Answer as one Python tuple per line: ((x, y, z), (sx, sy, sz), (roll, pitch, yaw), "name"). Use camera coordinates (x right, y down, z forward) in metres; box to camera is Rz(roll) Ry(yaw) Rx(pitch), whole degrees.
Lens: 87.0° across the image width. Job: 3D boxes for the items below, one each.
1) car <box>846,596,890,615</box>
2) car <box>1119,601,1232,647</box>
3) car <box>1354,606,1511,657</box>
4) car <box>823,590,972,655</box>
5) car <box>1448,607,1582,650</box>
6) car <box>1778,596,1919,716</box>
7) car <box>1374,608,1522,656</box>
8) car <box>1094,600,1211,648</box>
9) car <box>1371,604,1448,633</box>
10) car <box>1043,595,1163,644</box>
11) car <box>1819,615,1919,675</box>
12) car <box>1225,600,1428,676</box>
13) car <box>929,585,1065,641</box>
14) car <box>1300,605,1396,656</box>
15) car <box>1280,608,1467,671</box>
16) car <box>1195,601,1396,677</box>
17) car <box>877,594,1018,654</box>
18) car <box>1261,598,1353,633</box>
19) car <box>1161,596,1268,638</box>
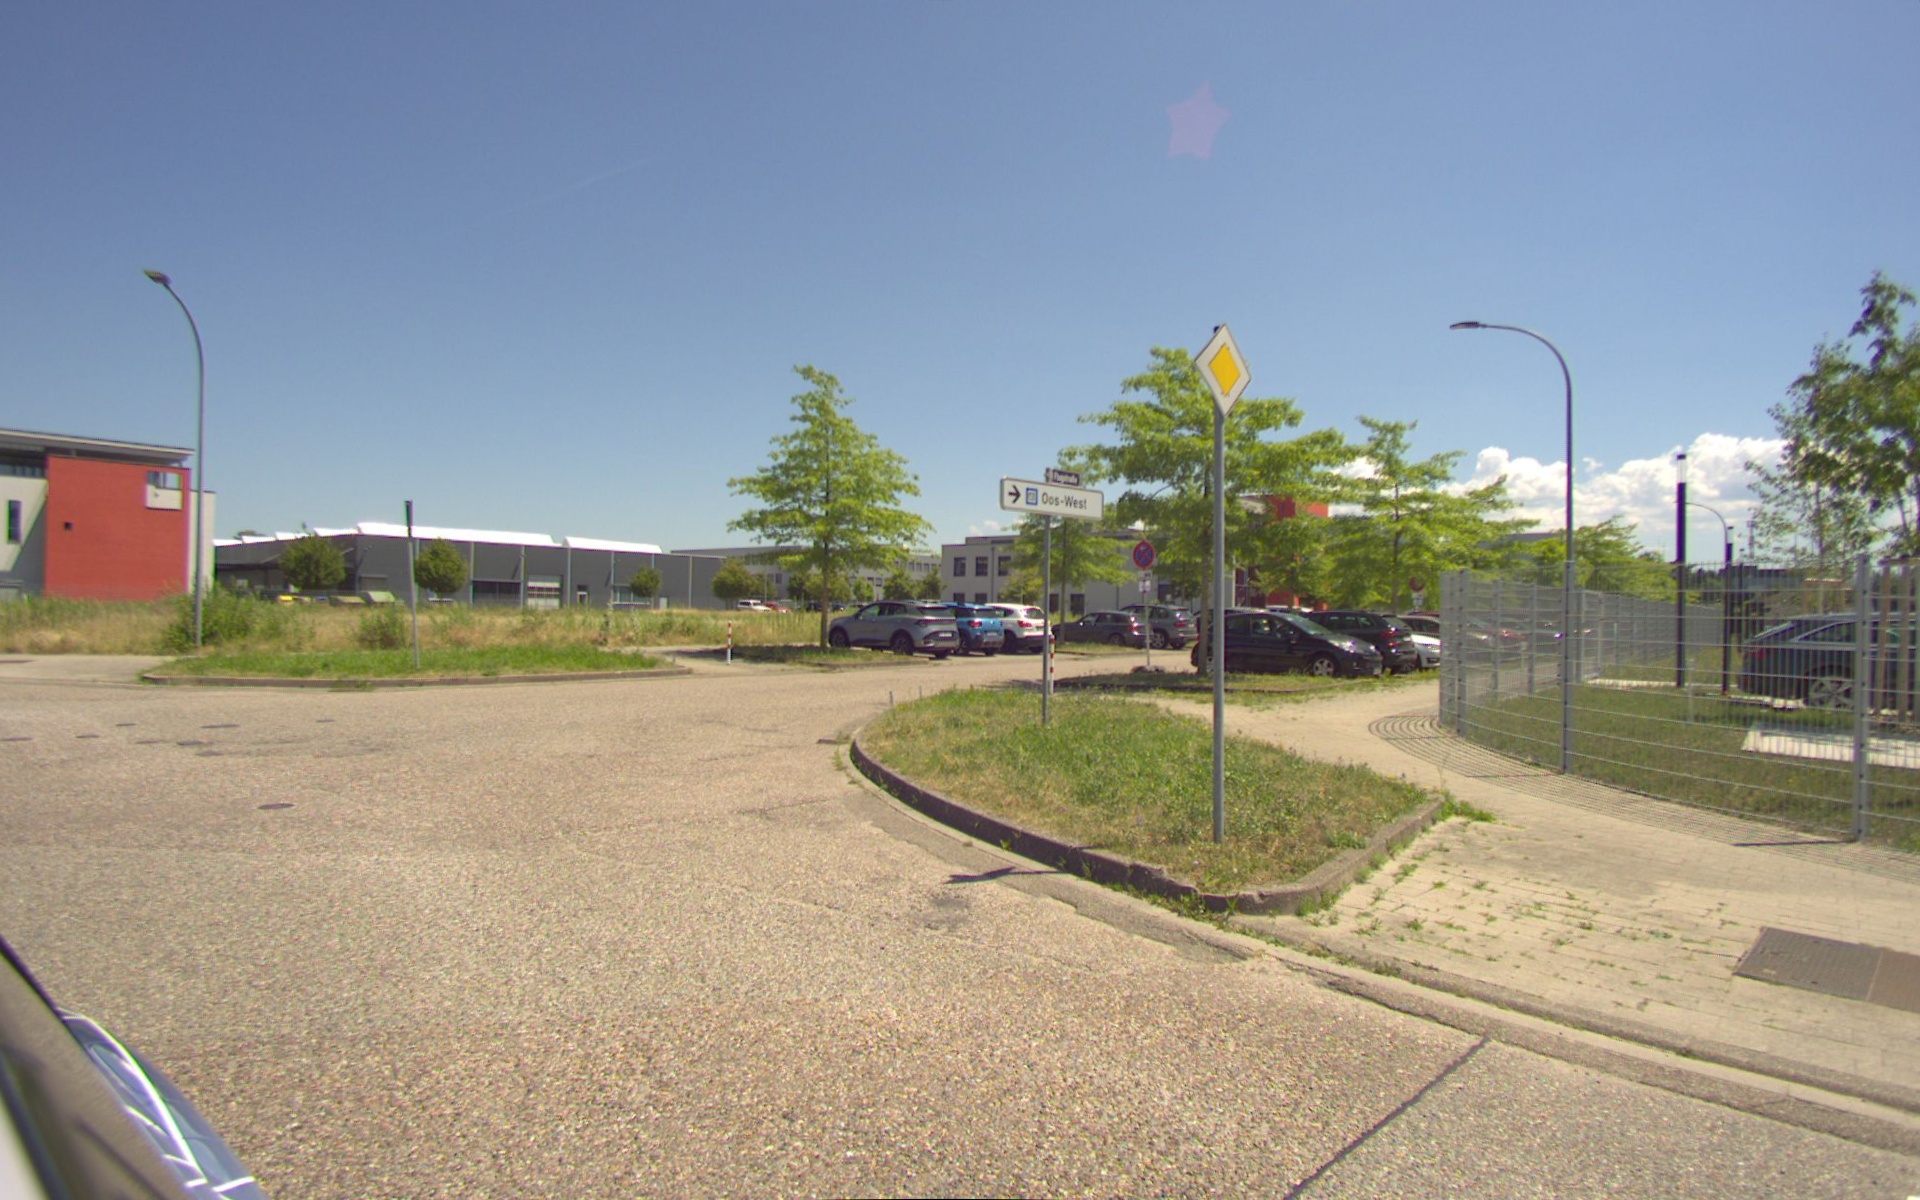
((-8.981, 0.521, 98.944), (3.995, 1.763, 1.974), (2, 0, 38), "car")
((8.878, 0.953, 41.872), (4.203, 1.710, 1.931), (2, 1, 42), "car")
((14.488, 0.938, 31.149), (4.113, 1.487, 1.590), (0, -1, 40), "car")
((-1.896, 0.609, 29.838), (4.308, 1.710, 1.931), (2, 1, 42), "car")
((20.432, 1.021, 37.340), (4.113, 1.487, 1.590), (0, -1, 40), "car")
((13.382, 0.754, 13.280), (4.102, 1.522, 1.753), (1, 0, 40), "car")
((15.911, 1.018, 33.111), (4.113, 1.487, 1.590), (0, -1, 40), "car")
((7.622, 0.907, 40.272), (4.203, 1.710, 1.931), (2, 1, 42), "car")
((29.168, 1.176, 65.700), (4.203, 1.710, 1.931), (2, 1, 42), "car")
((5.458, 0.700, 38.825), (4.203, 1.710, 1.931), (2, 1, 42), "car")
((25.859, 1.220, 27.244), (4.102, 1.522, 1.753), (1, 0, 40), "car")
((8.596, 0.847, 23.982), (4.253, 1.633, 1.588), (-1, -1, 43), "car")
((1.184, 0.382, 33.789), (4.308, 1.710, 1.931), (2, 1, 42), "car")
((14.876, 1.147, 38.655), (1.999, 1.706, 4.575), (3, 1, 40), "car")
((10.417, 0.951, 25.657), (4.113, 1.487, 1.590), (0, -1, 40), "car")
((7.158, 0.786, 21.804), (3.798, 1.487, 1.588), (-1, -1, 43), "car")
((-0.447, 0.700, 32.039), (4.308, 1.710, 1.931), (2, 1, 42), "car")
((18.516, 0.781, 54.062), (4.203, 1.710, 1.931), (2, 1, 42), "car")
((11.283, 0.709, 45.087), (4.203, 1.710, 1.931), (2, 1, 42), "car")
